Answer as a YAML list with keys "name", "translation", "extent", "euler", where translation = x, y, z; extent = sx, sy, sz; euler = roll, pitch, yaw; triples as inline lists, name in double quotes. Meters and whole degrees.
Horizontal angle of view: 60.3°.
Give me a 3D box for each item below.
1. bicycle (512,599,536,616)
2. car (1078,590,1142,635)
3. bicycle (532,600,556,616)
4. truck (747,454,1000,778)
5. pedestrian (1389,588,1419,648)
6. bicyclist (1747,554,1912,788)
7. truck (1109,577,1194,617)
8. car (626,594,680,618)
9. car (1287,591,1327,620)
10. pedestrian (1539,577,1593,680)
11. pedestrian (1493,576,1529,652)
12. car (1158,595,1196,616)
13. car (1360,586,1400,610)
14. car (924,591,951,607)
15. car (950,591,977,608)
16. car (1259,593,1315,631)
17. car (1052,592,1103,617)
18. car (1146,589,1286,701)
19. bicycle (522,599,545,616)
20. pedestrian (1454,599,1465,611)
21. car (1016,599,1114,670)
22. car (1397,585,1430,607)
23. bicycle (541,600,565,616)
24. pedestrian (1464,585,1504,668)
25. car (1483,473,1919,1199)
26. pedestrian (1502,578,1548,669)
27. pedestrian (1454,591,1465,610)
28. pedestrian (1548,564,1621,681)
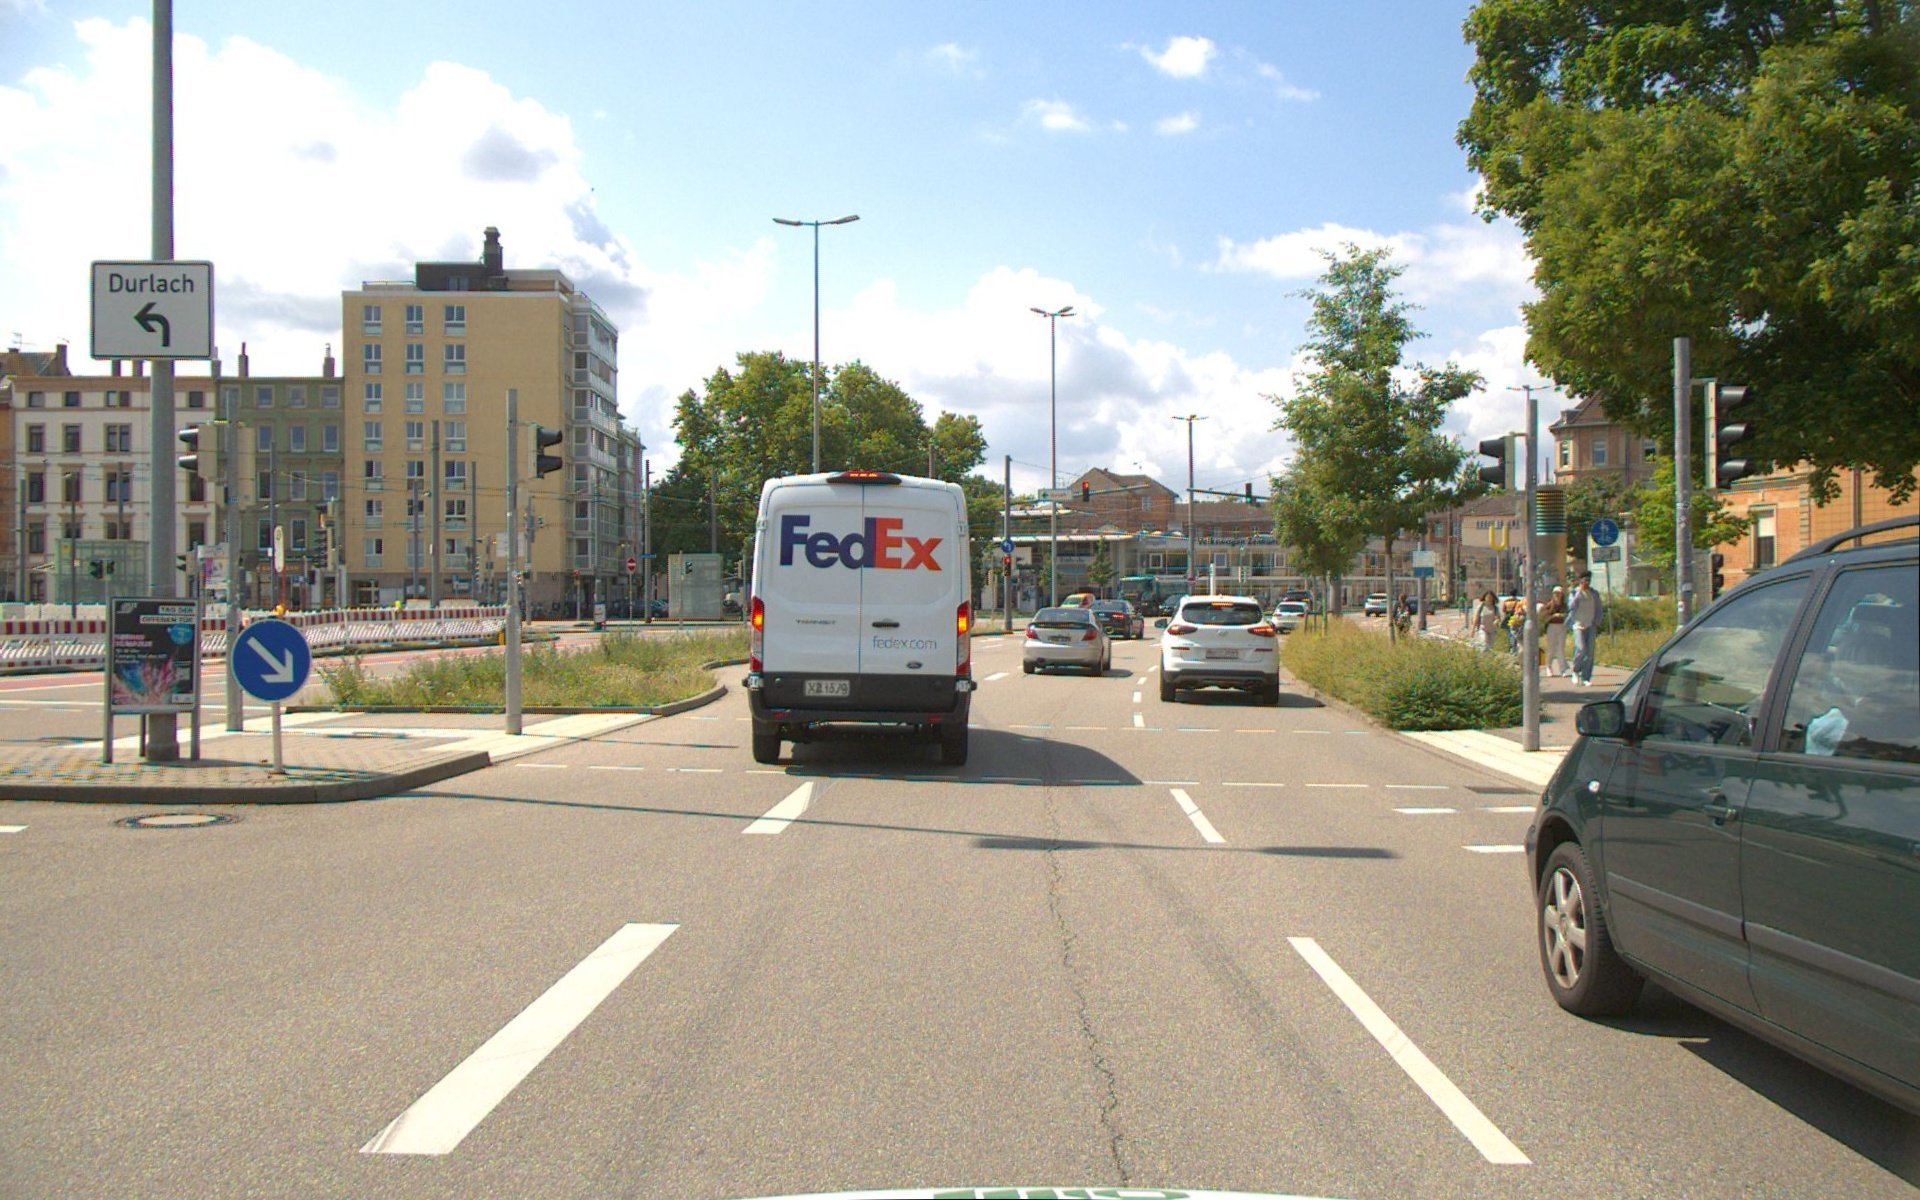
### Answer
- name: "bicycle"
  translation: [-30.955, 0.537, 117.430]
  extent: [2.096, 1.167, 0.508]
  euler: [0, -1, 41]
- name: "car"
  translation: [5.798, 0.451, 63.515]
  extent: [1.887, 1.670, 4.797]
  euler: [0, 0, 12]
- name: "bicycle"
  translation: [-29.670, 0.561, 117.947]
  extent: [2.096, 1.167, 0.530]
  euler: [0, -1, 42]
- name: "truck"
  translation: [-0.854, 0.146, 16.810]
  extent: [2.094, 2.686, 5.914]
  euler: [1, 0, -3]
- name: "pedestrian"
  translation: [12.047, 0.485, 44.857]
  extent: [0.740, 1.617, 0.762]
  euler: [1, -1, 13]
- name: "bicyclist"
  translation: [6.372, 0.509, 12.147]
  extent: [0.811, 1.629, 0.579]
  euler: [-3, -1, -4]
- name: "truck"
  translation: [14.407, -0.268, 123.776]
  extent: [2.833, 2.902, 8.770]
  euler: [0, 0, 32]
- name: "car"
  translation: [-24.905, 0.491, 134.329]
  extent: [4.015, 1.891, 1.983]
  euler: [1, -1, -2]
- name: "car"
  translation: [21.356, 0.327, 101.780]
  extent: [1.842, 1.670, 3.958]
  euler: [0, 0, 20]
- name: "pedestrian"
  translation: [11.082, 0.522, 30.272]
  extent: [0.740, 1.853, 0.638]
  euler: [1, -1, -2]
- name: "pedestrian"
  translation: [13.552, 0.344, 40.662]
  extent: [0.739, 1.853, 0.674]
  euler: [1, -1, 11]
- name: "car"
  translation: [15.850, 0.368, 120.488]
  extent: [1.620, 1.494, 4.152]
  euler: [0, 0, 24]
- name: "car"
  translation: [30.073, -0.172, 118.479]
  extent: [1.845, 1.670, 3.950]
  euler: [0, 0, 29]
- name: "car"
  translation: [-2.285, -0.091, 168.604]
  extent: [1.951, 1.601, 4.181]
  euler: [1, -1, 11]
- name: "car"
  translation: [0.330, -0.064, 167.767]
  extent: [1.951, 1.601, 4.181]
  euler: [1, -1, 11]
- name: "car"
  translation: [15.264, 0.531, 77.050]
  extent: [1.843, 1.670, 3.956]
  euler: [0, 0, 22]
- name: "car"
  translation: [8.869, 0.315, 124.308]
  extent: [1.688, 1.832, 4.726]
  euler: [-1, 0, 33]
- name: "car"
  translation: [4.097, 0.664, 27.059]
  extent: [1.842, 1.670, 4.234]
  euler: [0, 0, 3]
- name: "bicycle"
  translation: [-30.361, 0.549, 117.704]
  extent: [2.096, 1.167, 0.508]
  euler: [0, -1, 41]
- name: "pedestrian"
  translation: [39.003, 0.411, 129.145]
  extent: [0.514, 0.922, 1.559]
  euler: [0, -1, 28]
- name: "car"
  translation: [2.347, 0.711, 35.985]
  extent: [1.704, 1.416, 4.183]
  euler: [0, 0, 10]
- name: "car"
  translation: [35.087, -0.307, 127.832]
  extent: [1.843, 1.670, 3.955]
  euler: [0, 0, 24]
- name: "bicycle"
  translation: [-29.112, 0.572, 118.274]
  extent: [2.096, 1.167, 0.508]
  euler: [0, -1, 41]
- name: "pedestrian"
  translation: [10.748, 0.543, 33.925]
  extent: [0.636, 1.654, 0.775]
  euler: [-3, -1, 13]
- name: "car"
  translation: [3.116, 0.599, 4.692]
  extent: [1.758, 1.753, 4.447]
  euler: [2, 0, -1]
- name: "pedestrian"
  translation: [10.395, 0.427, 30.427]
  extent: [0.575, 1.654, 0.727]
  euler: [1, -1, -2]
- name: "pedestrian"
  translation: [39.027, 0.066, 129.188]
  extent: [0.679, 1.483, 0.679]
  euler: [0, -1, 29]
- name: "pedestrian"
  translation: [10.255, 0.369, 27.187]
  extent: [0.742, 1.852, 0.779]
  euler: [-4, 0, -8]
